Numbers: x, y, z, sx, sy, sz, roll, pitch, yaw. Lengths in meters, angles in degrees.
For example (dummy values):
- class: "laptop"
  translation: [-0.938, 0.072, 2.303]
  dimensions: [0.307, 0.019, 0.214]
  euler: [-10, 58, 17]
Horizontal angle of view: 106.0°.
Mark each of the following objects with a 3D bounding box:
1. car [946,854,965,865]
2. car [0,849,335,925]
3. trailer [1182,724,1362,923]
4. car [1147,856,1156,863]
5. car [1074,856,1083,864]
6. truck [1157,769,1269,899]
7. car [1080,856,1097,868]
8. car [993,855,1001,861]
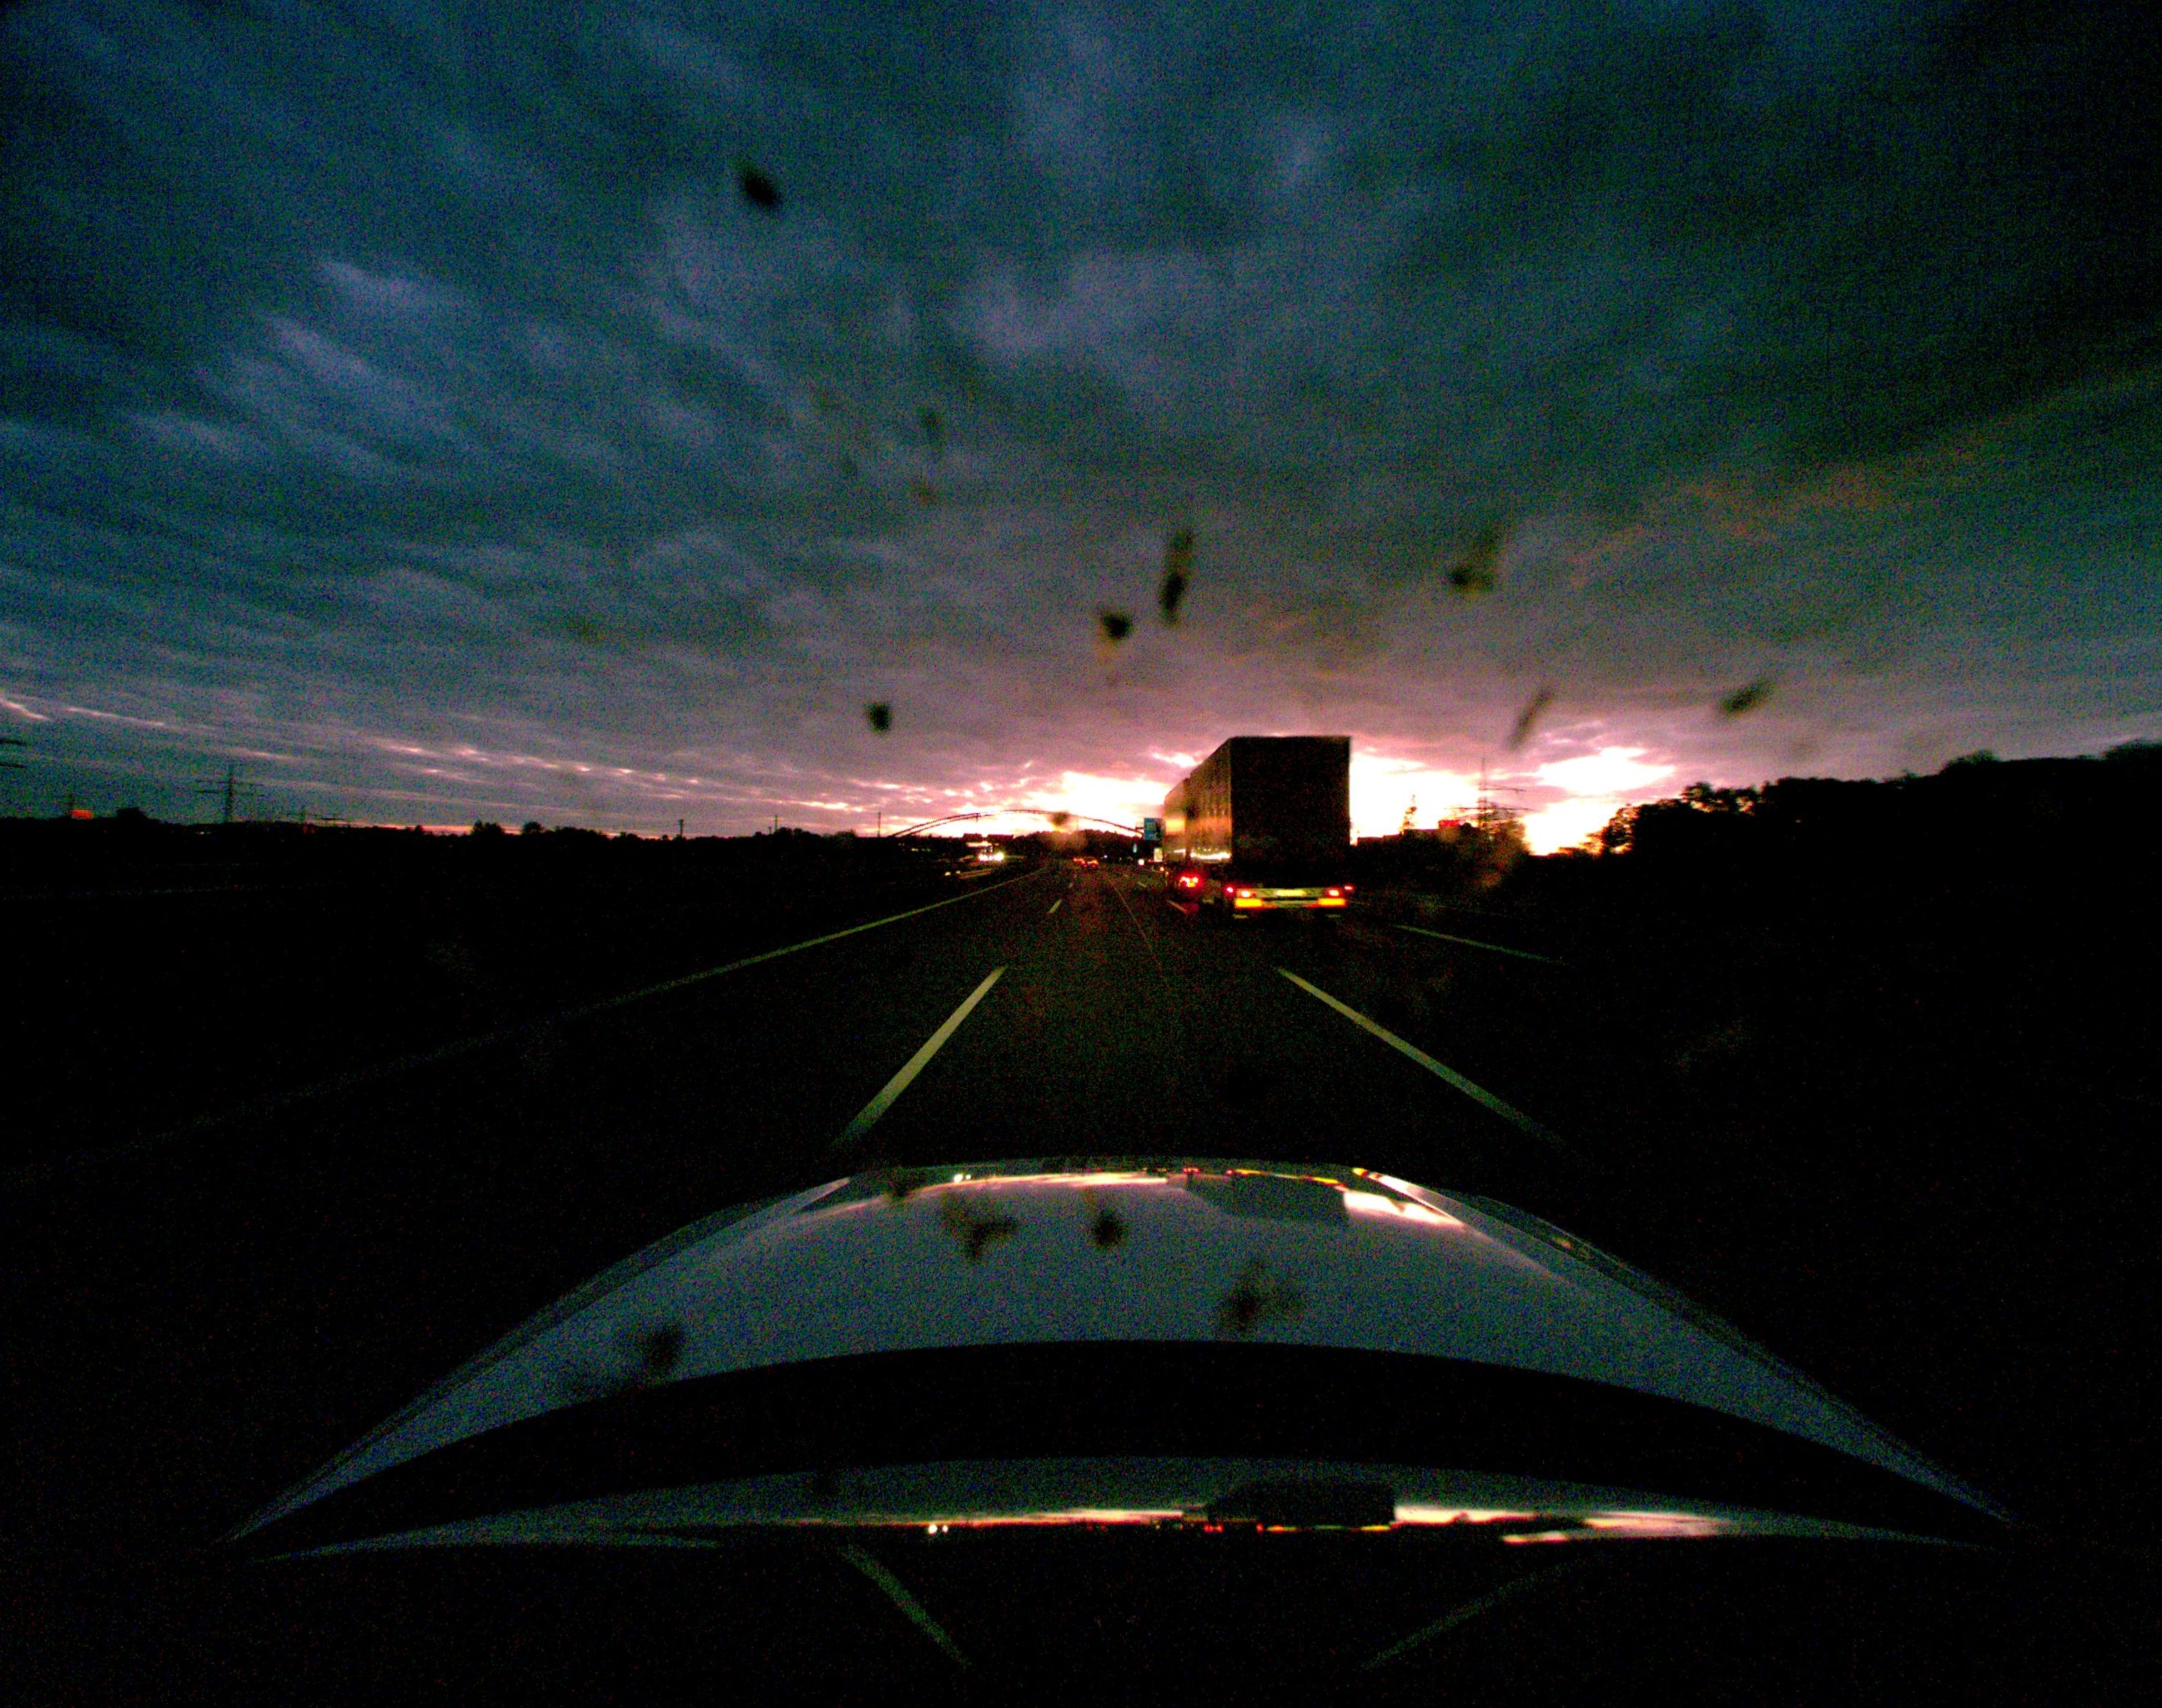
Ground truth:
- class: "car"
  translation: [-16.500, 0.697, 107.068]
  dimensions: [1.989, 1.404, 4.793]
  euler: [0, 0, -3]
- class: "car"
  translation: [-16.822, 0.536, 15.271]
  dimensions: [1.715, 1.227, 4.184]
  euler: [0, 0, 2]
- class: "trailer"
  translation: [4.478, -0.635, 21.166]
  dimensions: [2.712, 4.071, 8.832]
  euler: [0, 0, 1]
- class: "car"
  translation: [18.258, 1.498, 211.823]
  dimensions: [1.988, 1.717, 3.997]
  euler: [0, -2, -1]
- class: "car"
  translation: [-0.457, 1.058, 151.445]
  dimensions: [1.683, 1.401, 3.410]
  euler: [-1, -2, 2]
- class: "truck"
  translation: [4.641, -0.632, 30.845]
  dimensions: [2.681, 4.071, 10.521]
  euler: [0, 0, 1]
- class: "car"
  translation: [0.849, 0.971, 95.018]
  dimensions: [1.687, 1.401, 3.402]
  euler: [0, -1, -5]
- class: "car"
  translation: [-25.531, 1.141, 247.245]
  dimensions: [1.987, 1.625, 4.843]
  euler: [0, 0, 0]
